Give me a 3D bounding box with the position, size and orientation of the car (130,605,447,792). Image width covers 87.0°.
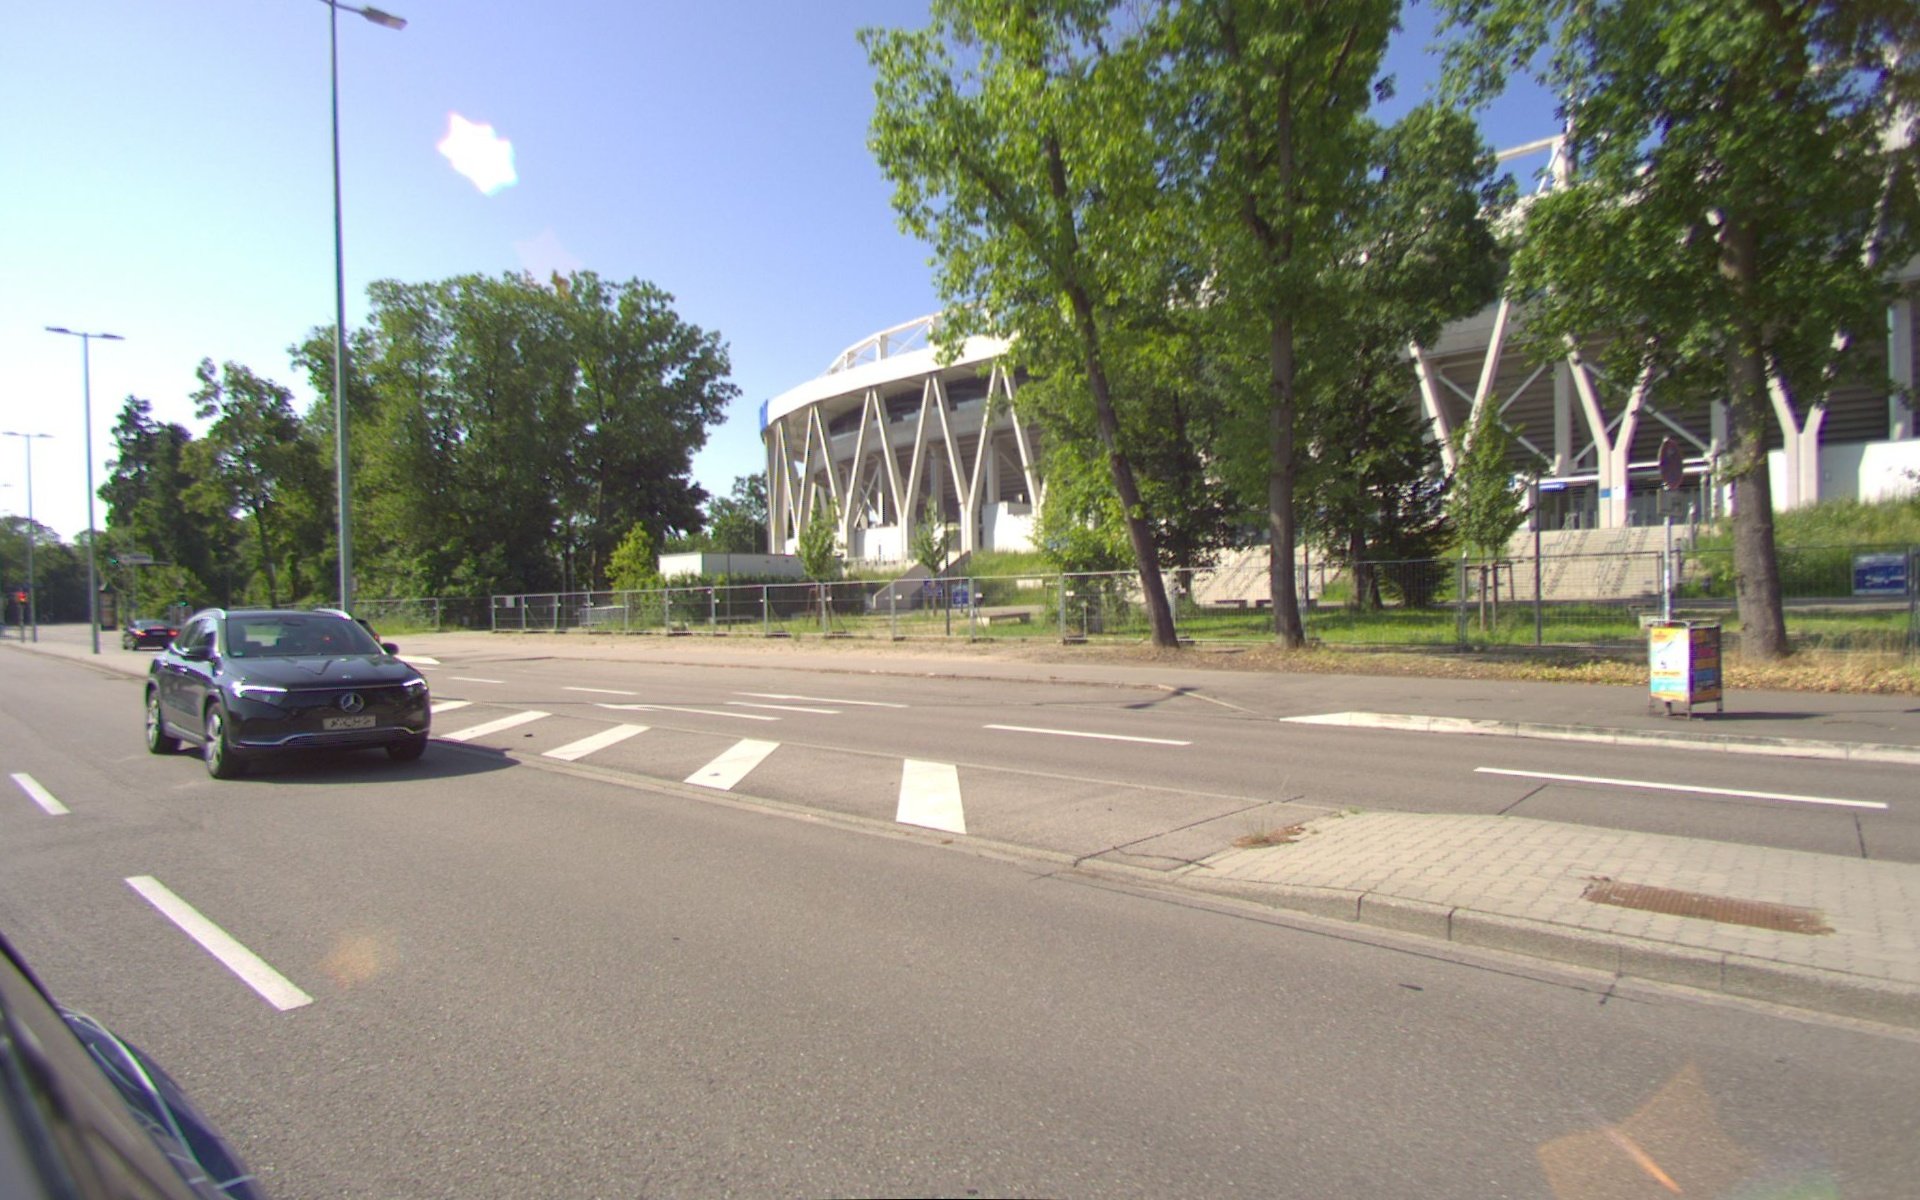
[{"bbox_3d":[-7.296,0.902,10.824,4.271,1.608,1.785,-1,-2,42],"label":"car"}]

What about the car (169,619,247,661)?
[{"bbox_3d":[-27.869,1.466,37.464,3.799,1.478,1.605,-1,-2,42],"label":"car"}]

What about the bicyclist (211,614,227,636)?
[{"bbox_3d":[-52.003,1.738,71.060,1.057,1.478,0.653,-2,1,42],"label":"bicyclist"}]

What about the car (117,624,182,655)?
[{"bbox_3d":[-38.461,1.852,47.985,4.161,1.398,1.791,-1,-2,43],"label":"car"}]

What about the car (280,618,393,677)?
[{"bbox_3d":[-17.054,1.261,27.619,3.949,1.497,1.733,-1,-2,45],"label":"car"}]

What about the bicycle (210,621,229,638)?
[{"bbox_3d":[-52.033,2.095,71.125,1.878,1.144,0.652,-2,1,42],"label":"bicycle"}]
